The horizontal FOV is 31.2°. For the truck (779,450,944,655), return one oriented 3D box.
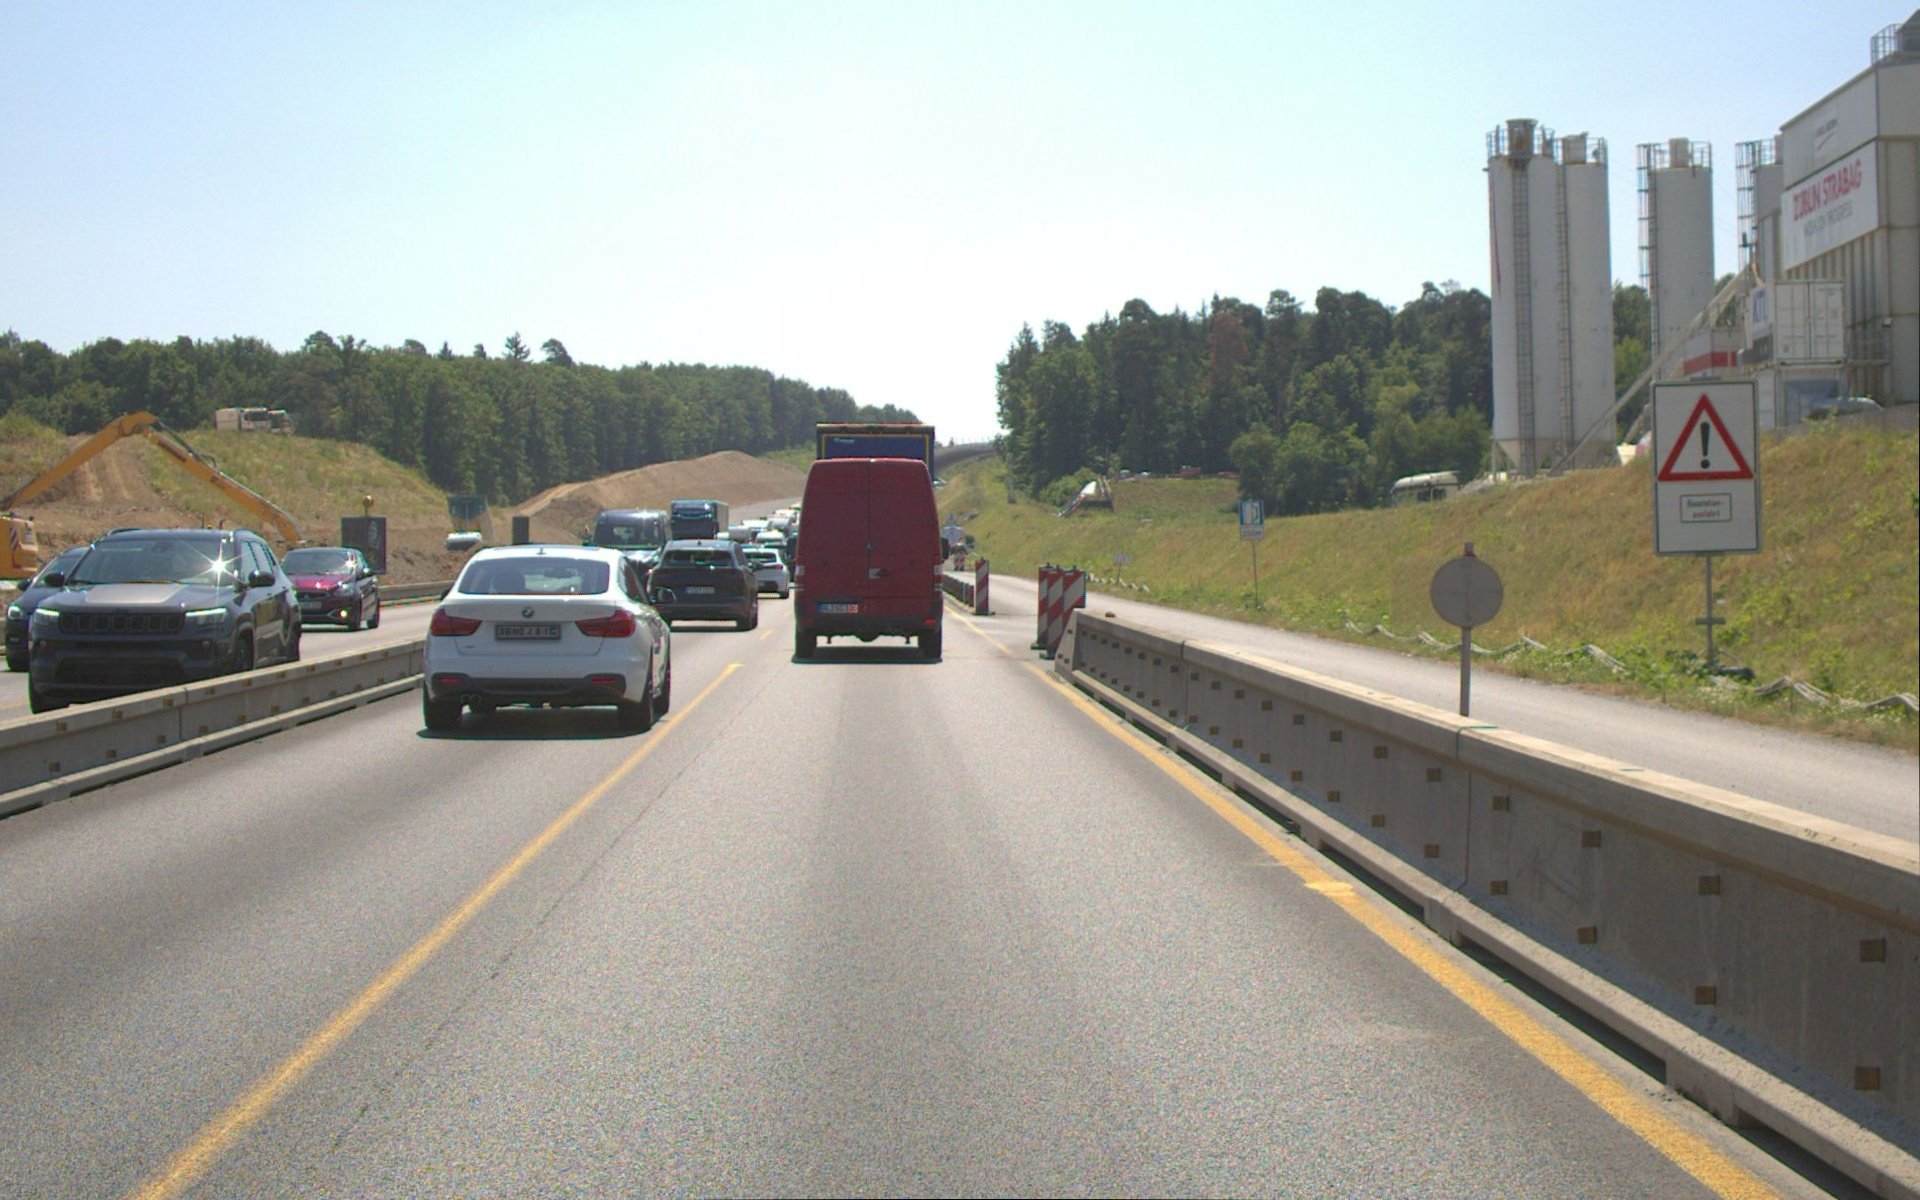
[{"bbox_3d":[-1.323,-0.674,47.742,2.111,2.624,6.485,-1,1,-1],"label":"truck"}]

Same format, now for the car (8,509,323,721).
[{"bbox_3d":[-7.071,0.077,31.100,1.771,1.735,5.039,-1,1,-1],"label":"car"}]

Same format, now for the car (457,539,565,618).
[{"bbox_3d":[-8.657,-0.443,66.590,1.678,1.437,4.672,-1,1,-3],"label":"car"}]

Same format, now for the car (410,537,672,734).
[{"bbox_3d":[-3.472,0.234,29.303,1.795,1.529,5.074,0,1,-2],"label":"car"}]

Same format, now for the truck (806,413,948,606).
[{"bbox_3d":[-1.838,-2.027,78.466,3.015,4.138,8.273,-1,1,-1],"label":"truck"}]

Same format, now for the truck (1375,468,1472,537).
[{"bbox_3d":[21.295,-4.463,157.828,2.899,3.102,6.005,0,1,23],"label":"truck"}]

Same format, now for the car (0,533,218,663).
[{"bbox_3d":[-10.517,-0.064,42.296,1.860,1.495,4.577,-1,1,-1],"label":"car"}]

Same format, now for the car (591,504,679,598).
[{"bbox_3d":[-8.768,-1.333,93.120,1.955,2.459,5.358,-1,1,-1],"label":"car"}]

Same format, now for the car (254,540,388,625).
[{"bbox_3d":[-11.330,-0.342,61.159,1.652,1.437,4.227,-1,1,-1],"label":"car"}]

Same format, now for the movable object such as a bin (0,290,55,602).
[{"bbox_3d":[-27.109,-3.795,86.484,7.637,7.687,3.446,-1,1,0],"label":"movable object such as a bin"}]

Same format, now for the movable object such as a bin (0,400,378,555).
[{"bbox_3d":[-37.657,-5.862,165.267,18.709,7.206,3.616,-1,1,-3],"label":"movable object such as a bin"}]

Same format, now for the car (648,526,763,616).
[{"bbox_3d":[-4.519,-0.538,61.403,1.795,1.529,3.931,-1,1,-1],"label":"car"}]

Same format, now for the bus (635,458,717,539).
[{"bbox_3d":[-16.274,-5.763,198.223,3.942,4.400,17.202,-1,1,-2],"label":"bus"}]

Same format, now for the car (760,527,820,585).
[{"bbox_3d":[-6.062,-1.582,123.269,1.993,2.007,4.000,-1,1,-1],"label":"car"}]
